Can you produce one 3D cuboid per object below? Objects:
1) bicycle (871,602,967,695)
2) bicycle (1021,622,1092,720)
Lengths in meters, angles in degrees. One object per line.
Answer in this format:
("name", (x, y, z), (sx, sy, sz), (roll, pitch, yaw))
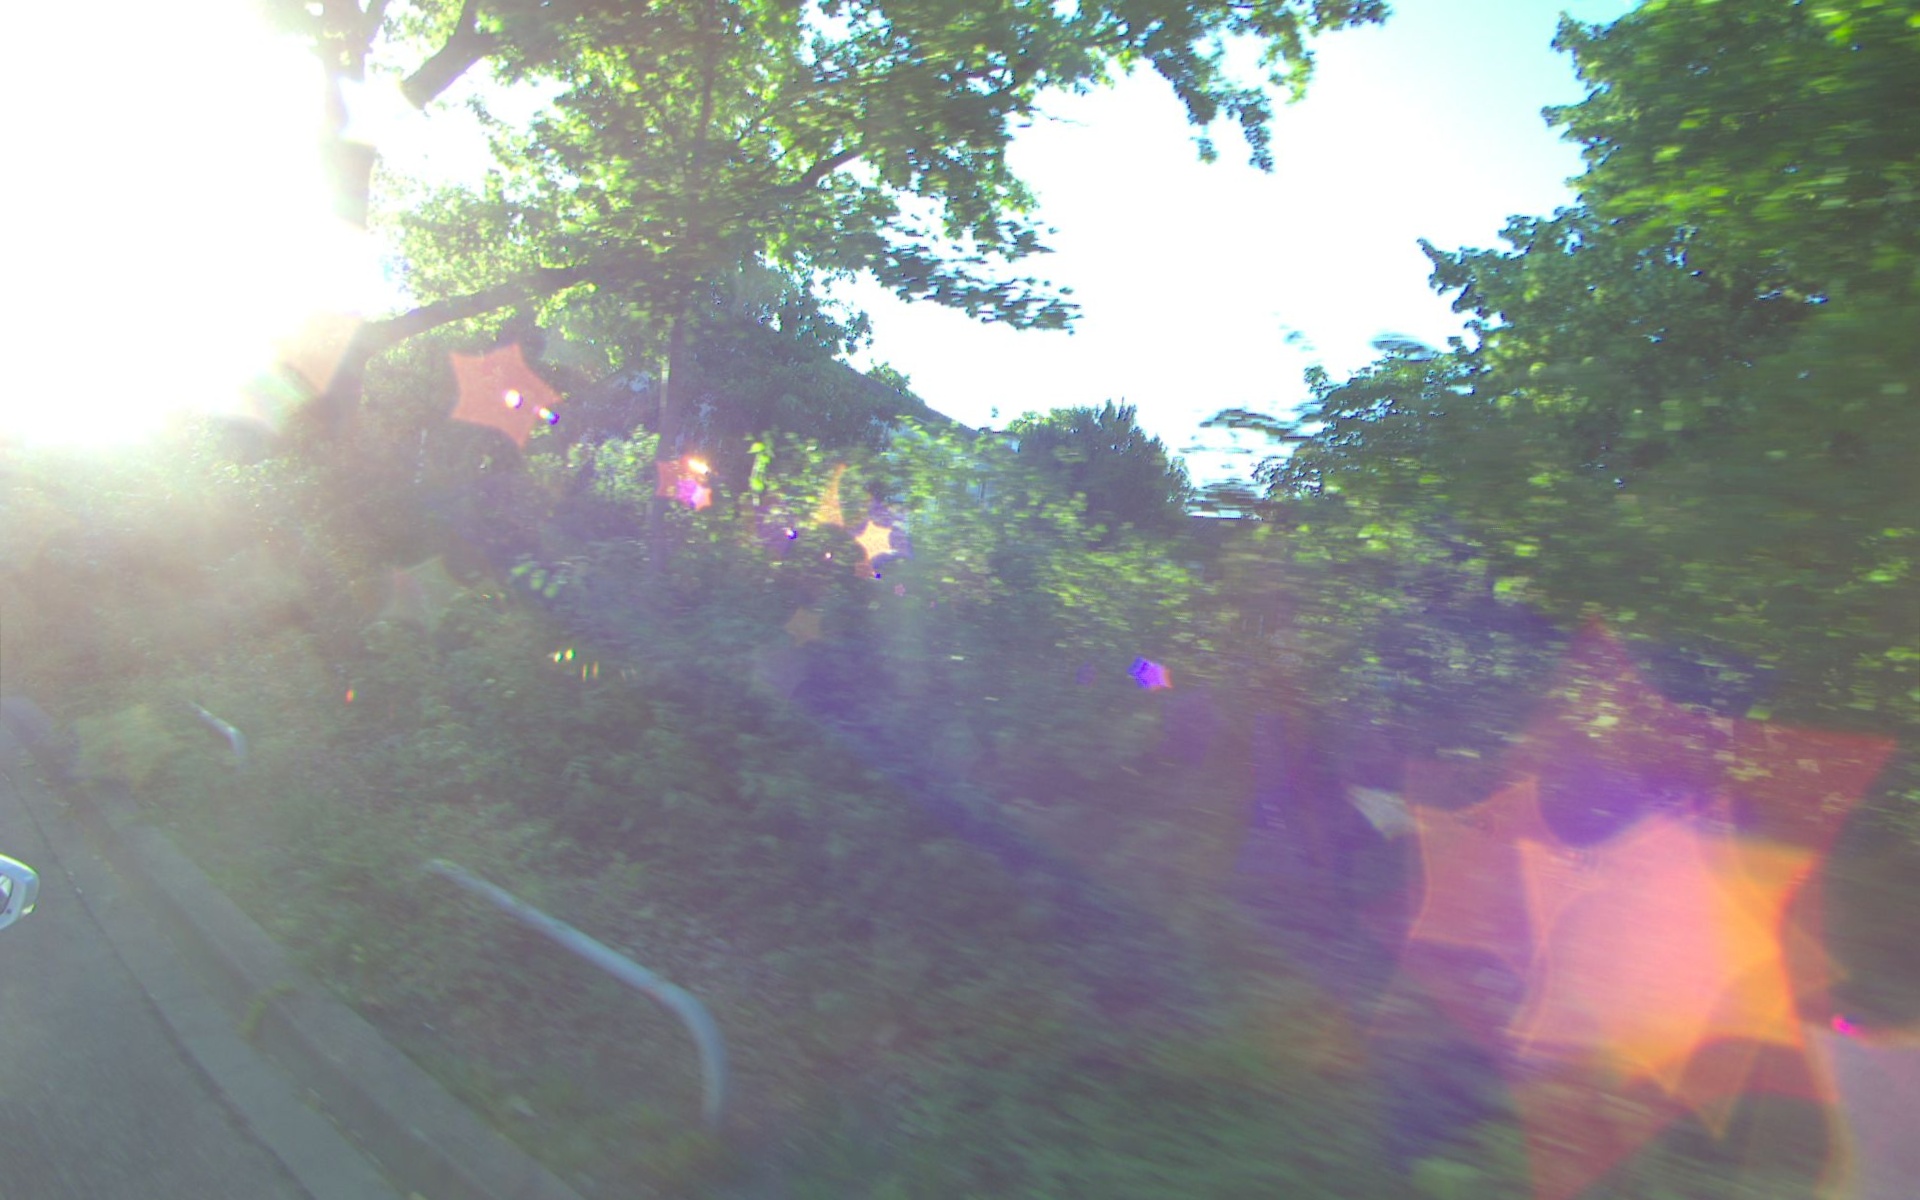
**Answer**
("bicycle", (-0.579, 0.724, 15.455), (0.737, 1.236, 2.451), (7, 0, 13))
("bicycle", (1.451, 0.987, 14.711), (0.737, 1.236, 2.452), (7, 0, 9))
